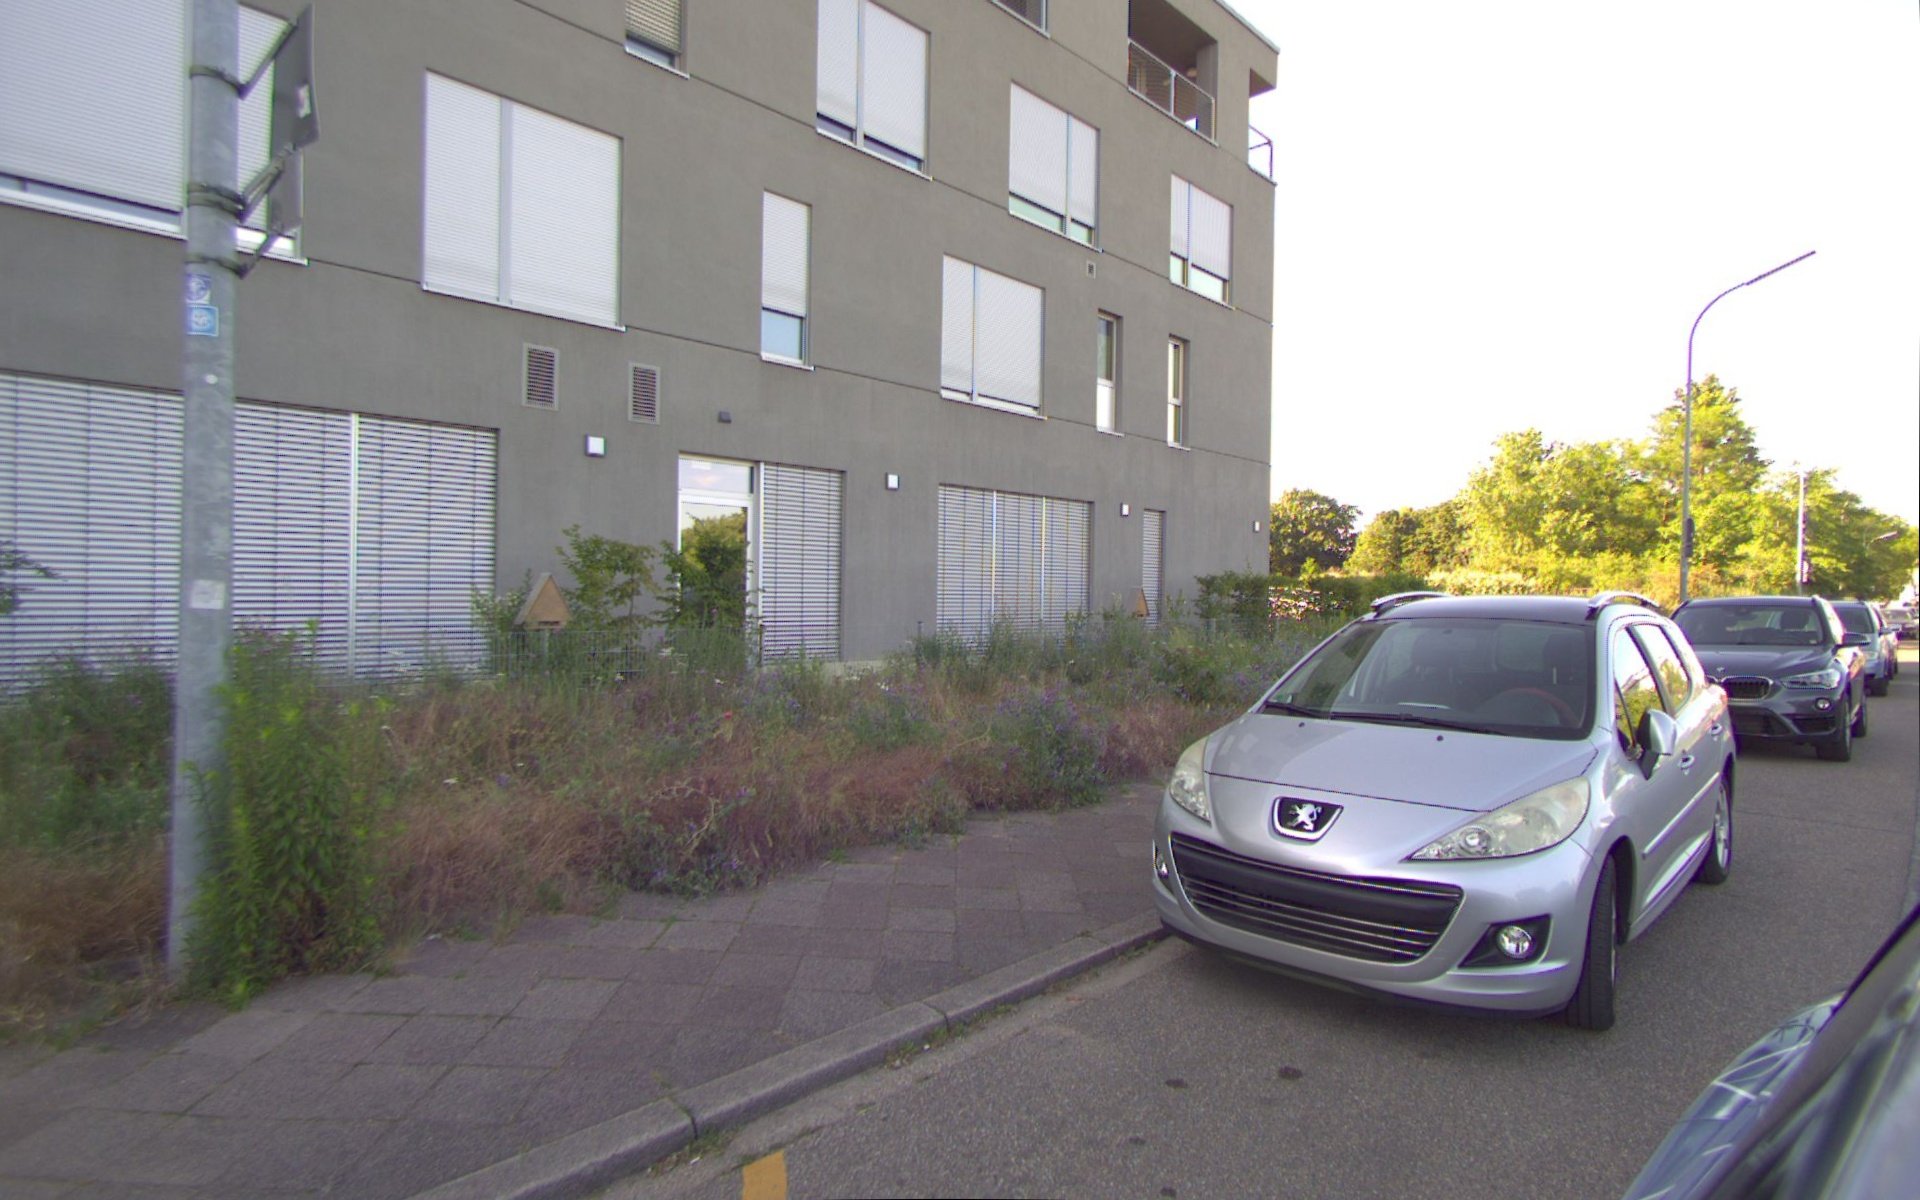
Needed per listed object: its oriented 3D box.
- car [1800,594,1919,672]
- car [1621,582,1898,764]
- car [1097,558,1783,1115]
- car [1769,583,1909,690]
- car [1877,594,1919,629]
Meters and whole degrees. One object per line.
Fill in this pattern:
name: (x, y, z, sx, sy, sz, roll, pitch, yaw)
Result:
car: (19.404, 0.672, 21.801, 3.042, 1.546, 1.707, 0, -1, -45)
car: (8.941, 0.643, 11.149, 4.723, 1.587, 1.746, 0, -1, -44)
car: (2.588, 0.654, 4.875, 4.087, 1.546, 1.707, 0, 0, -45)
car: (16.056, 0.606, 18.415, 1.706, 1.727, 4.281, -2, -1, 43)
car: (43.886, 0.527, 46.867, 4.087, 1.545, 1.870, 0, 1, -45)
